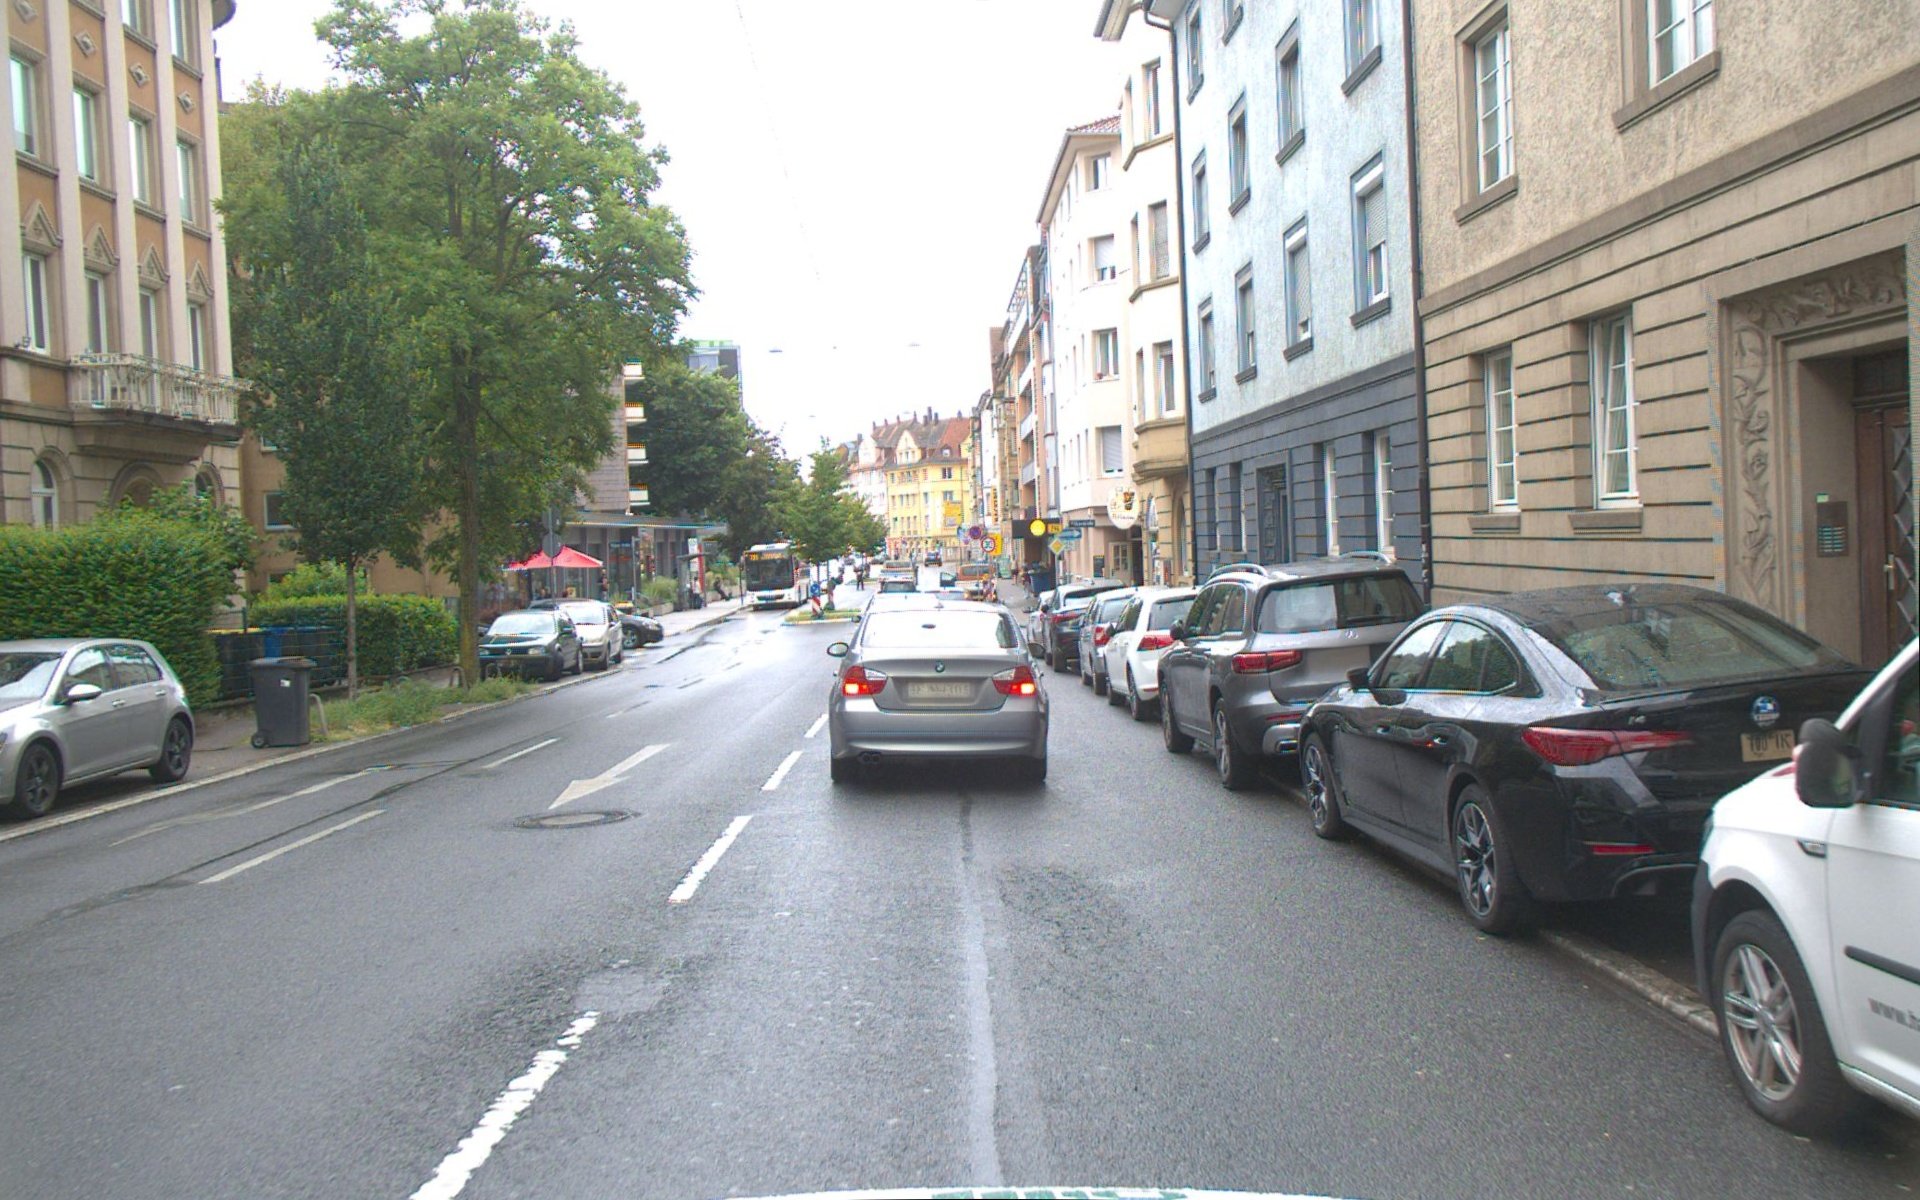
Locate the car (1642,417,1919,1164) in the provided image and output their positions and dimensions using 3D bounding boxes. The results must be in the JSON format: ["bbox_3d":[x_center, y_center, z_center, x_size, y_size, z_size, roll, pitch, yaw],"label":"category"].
[{"bbox_3d":[3.230,0.432,3.441,1.755,1.849,4.079,-4,1,-2],"label":"car"}]

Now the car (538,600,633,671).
[{"bbox_3d":[-8.719,0.789,38.784,1.600,1.479,3.836,-2,1,-5],"label":"car"}]

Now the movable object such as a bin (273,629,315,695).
[{"bbox_3d":[-11.252,1.038,27.938,0.417,1.059,0.650,-2,1,-2],"label":"movable object such as a bin"}]

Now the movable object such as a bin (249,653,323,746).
[{"bbox_3d":[-8.232,1.211,20.211,0.617,1.076,0.600,-3,-1,-1],"label":"movable object such as a bin"}]

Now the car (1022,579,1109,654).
[{"bbox_3d":[2.316,0.326,37.114,1.538,1.489,4.088,-4,1,-1],"label":"car"}]

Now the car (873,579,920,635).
[{"bbox_3d":[-2.454,0.265,63.335,1.671,2.049,3.997,0,0,-4],"label":"car"}]

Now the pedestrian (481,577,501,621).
[{"bbox_3d":[-19.742,-0.048,69.661,0.626,1.847,0.632,-3,1,-29],"label":"pedestrian"}]

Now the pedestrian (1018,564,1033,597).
[{"bbox_3d":[3.367,-1.000,84.805,0.733,1.690,0.837,0,-1,5],"label":"pedestrian"}]

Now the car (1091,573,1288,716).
[{"bbox_3d":[2.742,0.473,20.569,1.695,1.454,3.973,-5,1,-2],"label":"car"}]

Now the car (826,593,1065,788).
[{"bbox_3d":[-0.139,0.667,13.613,1.720,1.386,3.164,-1,0,-1],"label":"car"}]

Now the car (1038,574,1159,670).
[{"bbox_3d":[2.555,0.369,31.484,1.781,1.584,4.292,-4,1,-1],"label":"car"}]

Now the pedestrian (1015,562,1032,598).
[{"bbox_3d":[3.047,-0.967,79.986,0.735,1.690,0.754,0,-1,-4],"label":"pedestrian"}]

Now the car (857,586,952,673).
[{"bbox_3d":[-1.022,0.503,29.278,1.570,1.445,3.285,0,0,-4],"label":"car"}]

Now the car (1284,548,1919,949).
[{"bbox_3d":[3.160,0.555,8.681,1.804,1.433,4.386,-5,1,-2],"label":"car"}]

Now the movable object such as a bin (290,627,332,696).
[{"bbox_3d":[-11.230,1.054,28.624,0.430,1.150,0.657,-2,1,-2],"label":"movable object such as a bin"}]

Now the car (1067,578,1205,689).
[{"bbox_3d":[2.633,0.453,25.421,1.551,1.454,3.594,-5,1,-2],"label":"car"}]

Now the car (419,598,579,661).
[{"bbox_3d":[-12.382,0.780,44.539,3.737,1.413,1.743,-3,2,1],"label":"car"}]

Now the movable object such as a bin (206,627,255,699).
[{"bbox_3d":[-11.222,0.968,25.452,0.430,1.057,0.650,-2,1,-2],"label":"movable object such as a bin"}]

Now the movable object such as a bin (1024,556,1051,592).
[{"bbox_3d":[3.857,-1.281,81.992,1.100,1.732,1.433,-3,0,-4],"label":"movable object such as a bin"}]

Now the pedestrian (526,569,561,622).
[{"bbox_3d":[-14.233,-0.162,56.540,1.043,1.761,0.712,-2,1,-11],"label":"pedestrian"}]

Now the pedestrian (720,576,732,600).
[{"bbox_3d":[-13.823,-0.725,97.791,0.607,1.402,0.544,0,-1,0],"label":"pedestrian"}]

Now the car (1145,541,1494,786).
[{"bbox_3d":[2.836,0.453,14.034,1.804,1.649,4.206,-4,0,-2],"label":"car"}]

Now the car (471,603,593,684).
[{"bbox_3d":[-8.813,0.855,34.343,1.621,1.479,3.940,-2,1,-3],"label":"car"}]

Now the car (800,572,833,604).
[{"bbox_3d":[-9.402,-0.783,108.388,1.953,2.049,3.998,-1,0,-2],"label":"car"}]

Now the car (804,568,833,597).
[{"bbox_3d":[-10.578,-1.306,123.636,1.953,2.049,3.998,1,0,-2],"label":"car"}]

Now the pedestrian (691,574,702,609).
[{"bbox_3d":[-13.088,-0.401,82.115,0.532,1.739,0.465,1,-1,-8],"label":"pedestrian"}]

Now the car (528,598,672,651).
[{"bbox_3d":[-10.268,0.694,47.385,3.739,1.414,1.742,-1,0,-2],"label":"car"}]

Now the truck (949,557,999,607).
[{"bbox_3d":[0.655,-0.805,74.862,2.170,2.153,4.653,1,0,1],"label":"truck"}]

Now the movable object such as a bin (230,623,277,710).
[{"bbox_3d":[-11.224,1.042,26.294,0.430,1.331,0.650,-2,1,-2],"label":"movable object such as a bin"}]

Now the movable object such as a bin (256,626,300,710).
[{"bbox_3d":[-11.207,1.105,27.179,0.430,1.331,0.609,-2,0,-2],"label":"movable object such as a bin"}]

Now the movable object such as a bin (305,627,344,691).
[{"bbox_3d":[-11.246,1.037,29.282,0.430,1.100,0.589,-2,1,-2],"label":"movable object such as a bin"}]

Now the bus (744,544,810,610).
[{"bbox_3d":[-9.605,-1.117,88.053,2.627,3.256,11.950,0,0,-2],"label":"bus"}]

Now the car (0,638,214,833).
[{"bbox_3d":[-8.408,1.131,14.836,1.648,1.414,3.935,-1,0,-1],"label":"car"}]

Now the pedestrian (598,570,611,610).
[{"bbox_3d":[-16.225,-0.455,75.429,0.455,1.821,0.544,0,-1,-1],"label":"pedestrian"}]

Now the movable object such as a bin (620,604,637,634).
[{"bbox_3d":[-12.662,0.718,63.109,0.480,1.100,0.606,-3,-1,-1],"label":"movable object such as a bin"}]

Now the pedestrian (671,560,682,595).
[{"bbox_3d":[-14.688,-1.167,85.636,0.533,1.821,0.507,1,-1,-10],"label":"pedestrian"}]

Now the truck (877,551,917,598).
[{"bbox_3d":[-3.587,-1.428,94.372,2.172,2.589,4.777,0,0,-2],"label":"truck"}]

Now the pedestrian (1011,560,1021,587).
[{"bbox_3d":[3.512,-1.665,103.681,0.602,1.690,0.755,0,-1,5],"label":"pedestrian"}]

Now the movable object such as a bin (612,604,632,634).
[{"bbox_3d":[-12.690,0.708,62.090,0.542,1.100,0.731,-3,-1,-1],"label":"movable object such as a bin"}]

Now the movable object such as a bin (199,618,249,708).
[{"bbox_3d":[-11.201,0.946,25.195,0.430,1.322,0.650,-2,1,-2],"label":"movable object such as a bin"}]

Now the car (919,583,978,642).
[{"bbox_3d":[-0.267,0.311,41.405,1.406,1.380,3.762,0,0,0],"label":"car"}]
